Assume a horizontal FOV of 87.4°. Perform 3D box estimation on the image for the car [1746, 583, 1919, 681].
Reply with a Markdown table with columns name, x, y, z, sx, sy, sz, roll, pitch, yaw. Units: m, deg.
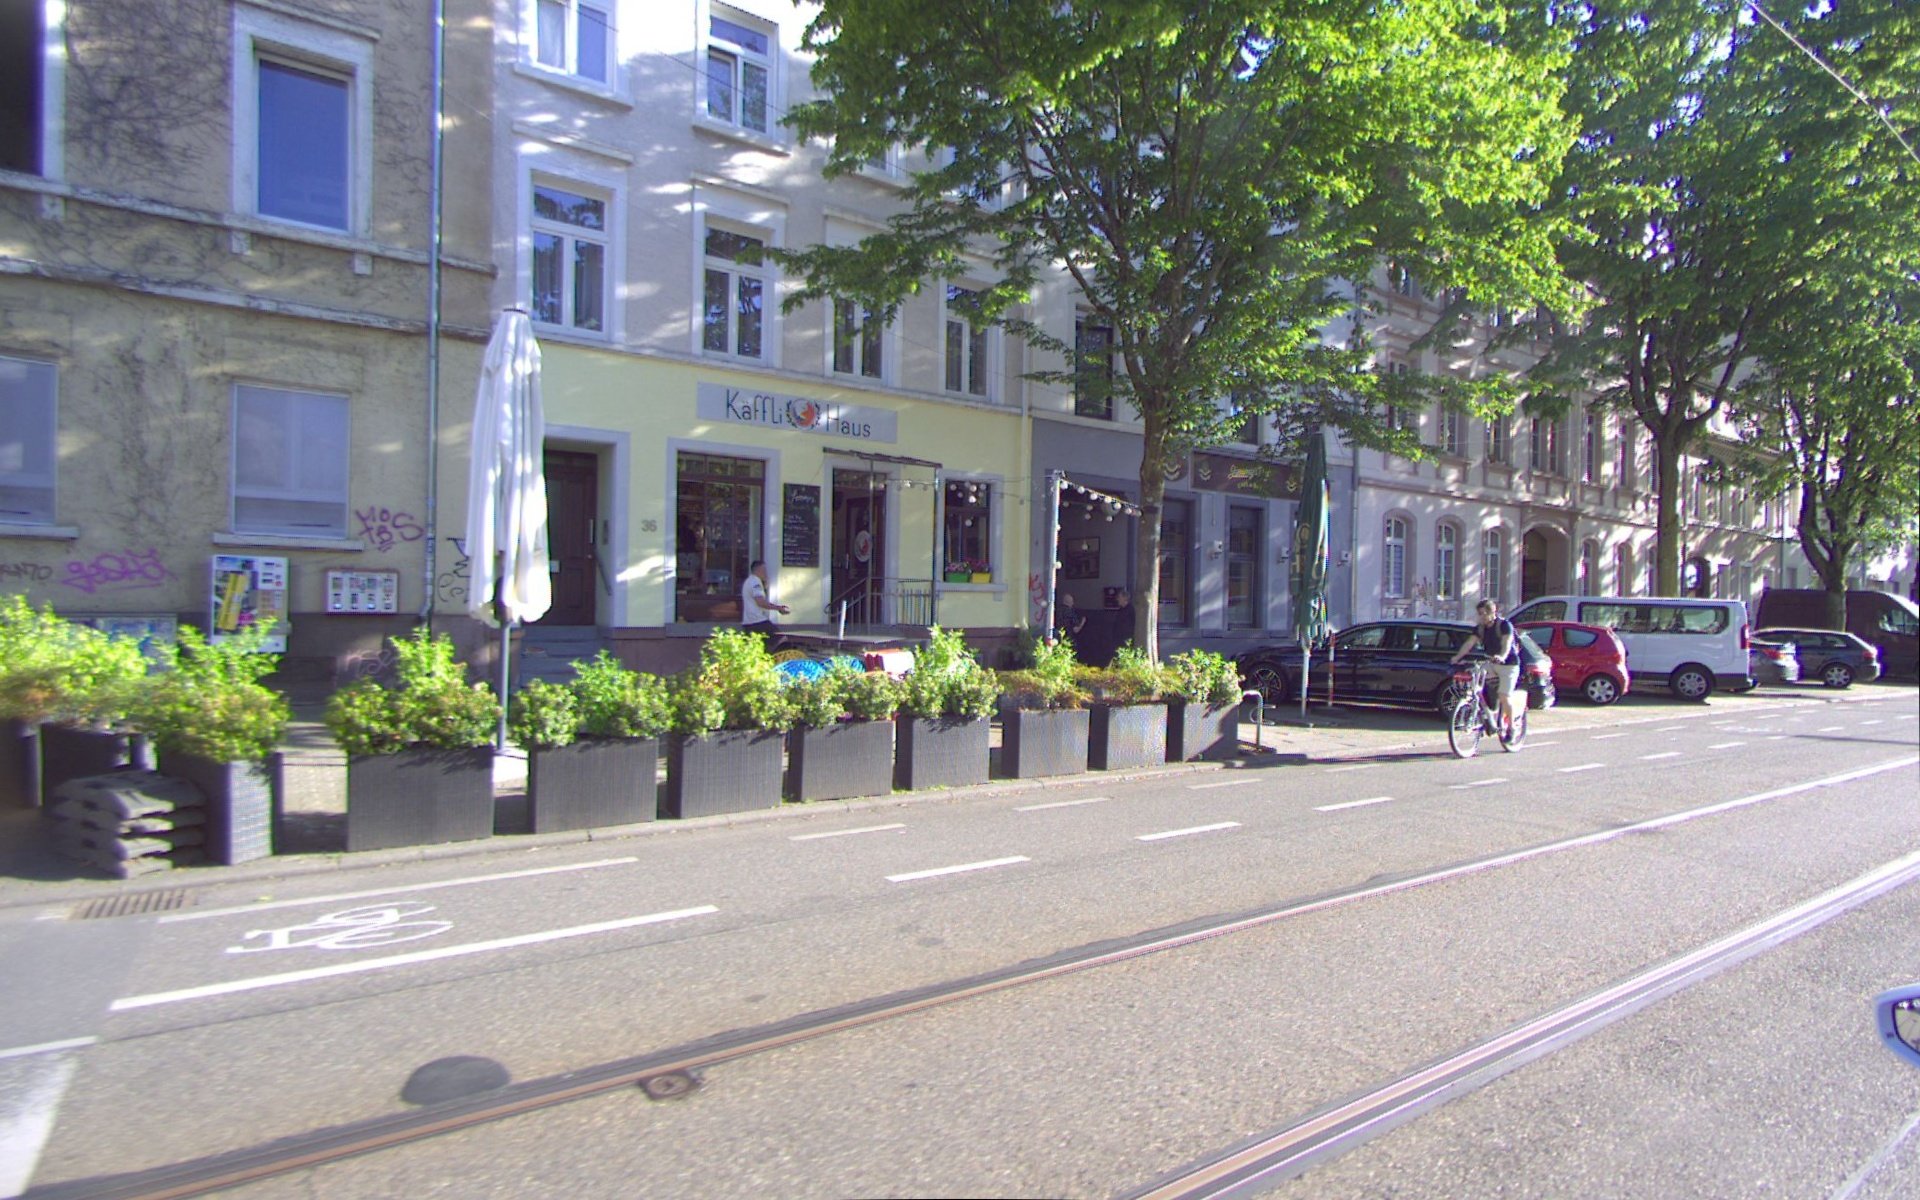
| name | x | y | z | sx | sy | sz | roll | pitch | yaw |
| --- | --- | --- | --- | --- | --- | --- | --- | --- | --- |
| car | 26.949 | 0.925 | 29.868 | 2.225 | 2.612 | 5.142 | 2 | 2 | -37 |

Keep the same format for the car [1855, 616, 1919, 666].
| name | x | y | z | sx | sy | sz | roll | pitch | yaw |
| --- | --- | --- | --- | --- | --- | --- | --- | --- | --- |
| car | 34.512 | 1.529 | 35.503 | 1.814 | 1.629 | 4.051 | 2 | 2 | -41 |

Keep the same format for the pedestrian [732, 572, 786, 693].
| name | x | y | z | sx | sy | sz | roll | pitch | yaw |
| --- | --- | --- | --- | --- | --- | --- | --- | --- | --- |
| pedestrian | -2.857 | 0.456 | 14.277 | 0.564 | 1.665 | 0.534 | 1 | -1 | -37 |

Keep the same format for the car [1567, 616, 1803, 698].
| name | x | y | z | sx | sy | sz | roll | pitch | yaw |
| --- | --- | --- | --- | --- | --- | --- | --- | --- | --- |
| car | 16.469 | 1.229 | 22.968 | 1.815 | 1.438 | 4.049 | 2 | 2 | -42 |

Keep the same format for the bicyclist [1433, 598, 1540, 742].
| name | x | y | z | sx | sy | sz | roll | pitch | yaw |
| --- | --- | --- | --- | --- | --- | --- | --- | --- | --- |
| bicyclist | 6.114 | 0.782 | 11.668 | 1.018 | 1.593 | 0.719 | 1 | -1 | -35 |

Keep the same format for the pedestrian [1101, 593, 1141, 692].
| name | x | y | z | sx | sy | sz | roll | pitch | yaw |
| --- | --- | --- | --- | --- | --- | --- | --- | --- | --- |
| pedestrian | 2.878 | 0.748 | 17.905 | 0.498 | 1.737 | 0.537 | -1 | -1 | 42 |

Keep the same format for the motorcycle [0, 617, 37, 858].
| name | x | y | z | sx | sy | sz | roll | pitch | yaw |
| --- | --- | --- | --- | --- | --- | --- | --- | --- | --- |
| motorcycle | -6.723 | 0.736 | 5.957 | 2.376 | 1.369 | 1.000 | 3 | 0 | 26 |

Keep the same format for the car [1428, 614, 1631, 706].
| name | x | y | z | sx | sy | sz | roll | pitch | yaw |
| --- | --- | --- | --- | --- | --- | --- | --- | --- | --- |
| car | 11.006 | 1.093 | 19.462 | 3.270 | 1.523 | 1.683 | 0 | 2 | 35 |

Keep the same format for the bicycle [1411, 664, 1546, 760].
| name | x | y | z | sx | sy | sz | roll | pitch | yaw |
| --- | --- | --- | --- | --- | --- | --- | --- | --- | --- |
| bicycle | 5.997 | 1.251 | 11.587 | 1.865 | 0.966 | 0.606 | 1 | -1 | -36 |

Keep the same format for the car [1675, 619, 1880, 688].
| name | x | y | z | sx | sy | sz | roll | pitch | yaw |
| --- | --- | --- | --- | --- | --- | --- | --- | --- | --- |
| car | 21.551 | 1.360 | 26.654 | 4.037 | 1.438 | 1.820 | 4 | 2 | 40 |

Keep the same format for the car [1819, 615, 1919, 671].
| name | x | y | z | sx | sy | sz | roll | pitch | yaw |
| --- | --- | --- | --- | --- | --- | --- | --- | --- | --- |
| car | 30.935 | 1.451 | 32.845 | 1.814 | 1.629 | 4.051 | 2 | 2 | -41 |

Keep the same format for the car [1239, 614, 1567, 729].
| name | x | y | z | sx | sy | sz | roll | pitch | yaw |
| --- | --- | --- | --- | --- | --- | --- | --- | --- | --- |
| car | 6.981 | 1.039 | 16.028 | 4.565 | 1.510 | 1.684 | 1 | -1 | 33 |

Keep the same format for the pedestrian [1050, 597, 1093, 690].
| name | x | y | z | sx | sy | sz | roll | pitch | yaw |
| --- | --- | --- | --- | --- | --- | --- | --- | --- | --- |
| pedestrian | 2.029 | 0.785 | 18.259 | 0.564 | 1.665 | 0.534 | 1 | -1 | -37 |

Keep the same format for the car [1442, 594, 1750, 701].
| name | x | y | z | sx | sy | sz | roll | pitch | yaw |
| --- | --- | --- | --- | --- | --- | --- | --- | --- | --- |
| car | 13.197 | 0.906 | 21.193 | 5.255 | 2.018 | 2.034 | 0 | 0 | 33 |

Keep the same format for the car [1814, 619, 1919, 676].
| name | x | y | z | sx | sy | sz | roll | pitch | yaw |
| --- | --- | --- | --- | --- | --- | --- | --- | --- | --- |
| car | 29.293 | 1.485 | 31.148 | 1.814 | 1.629 | 4.051 | 1 | 0 | -41 |

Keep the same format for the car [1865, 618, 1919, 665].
| name | x | y | z | sx | sy | sz | roll | pitch | yaw |
| --- | --- | --- | --- | --- | --- | --- | --- | --- | --- |
| car | 36.406 | 1.619 | 37.189 | 1.814 | 1.629 | 4.051 | 2 | 2 | -41 |
